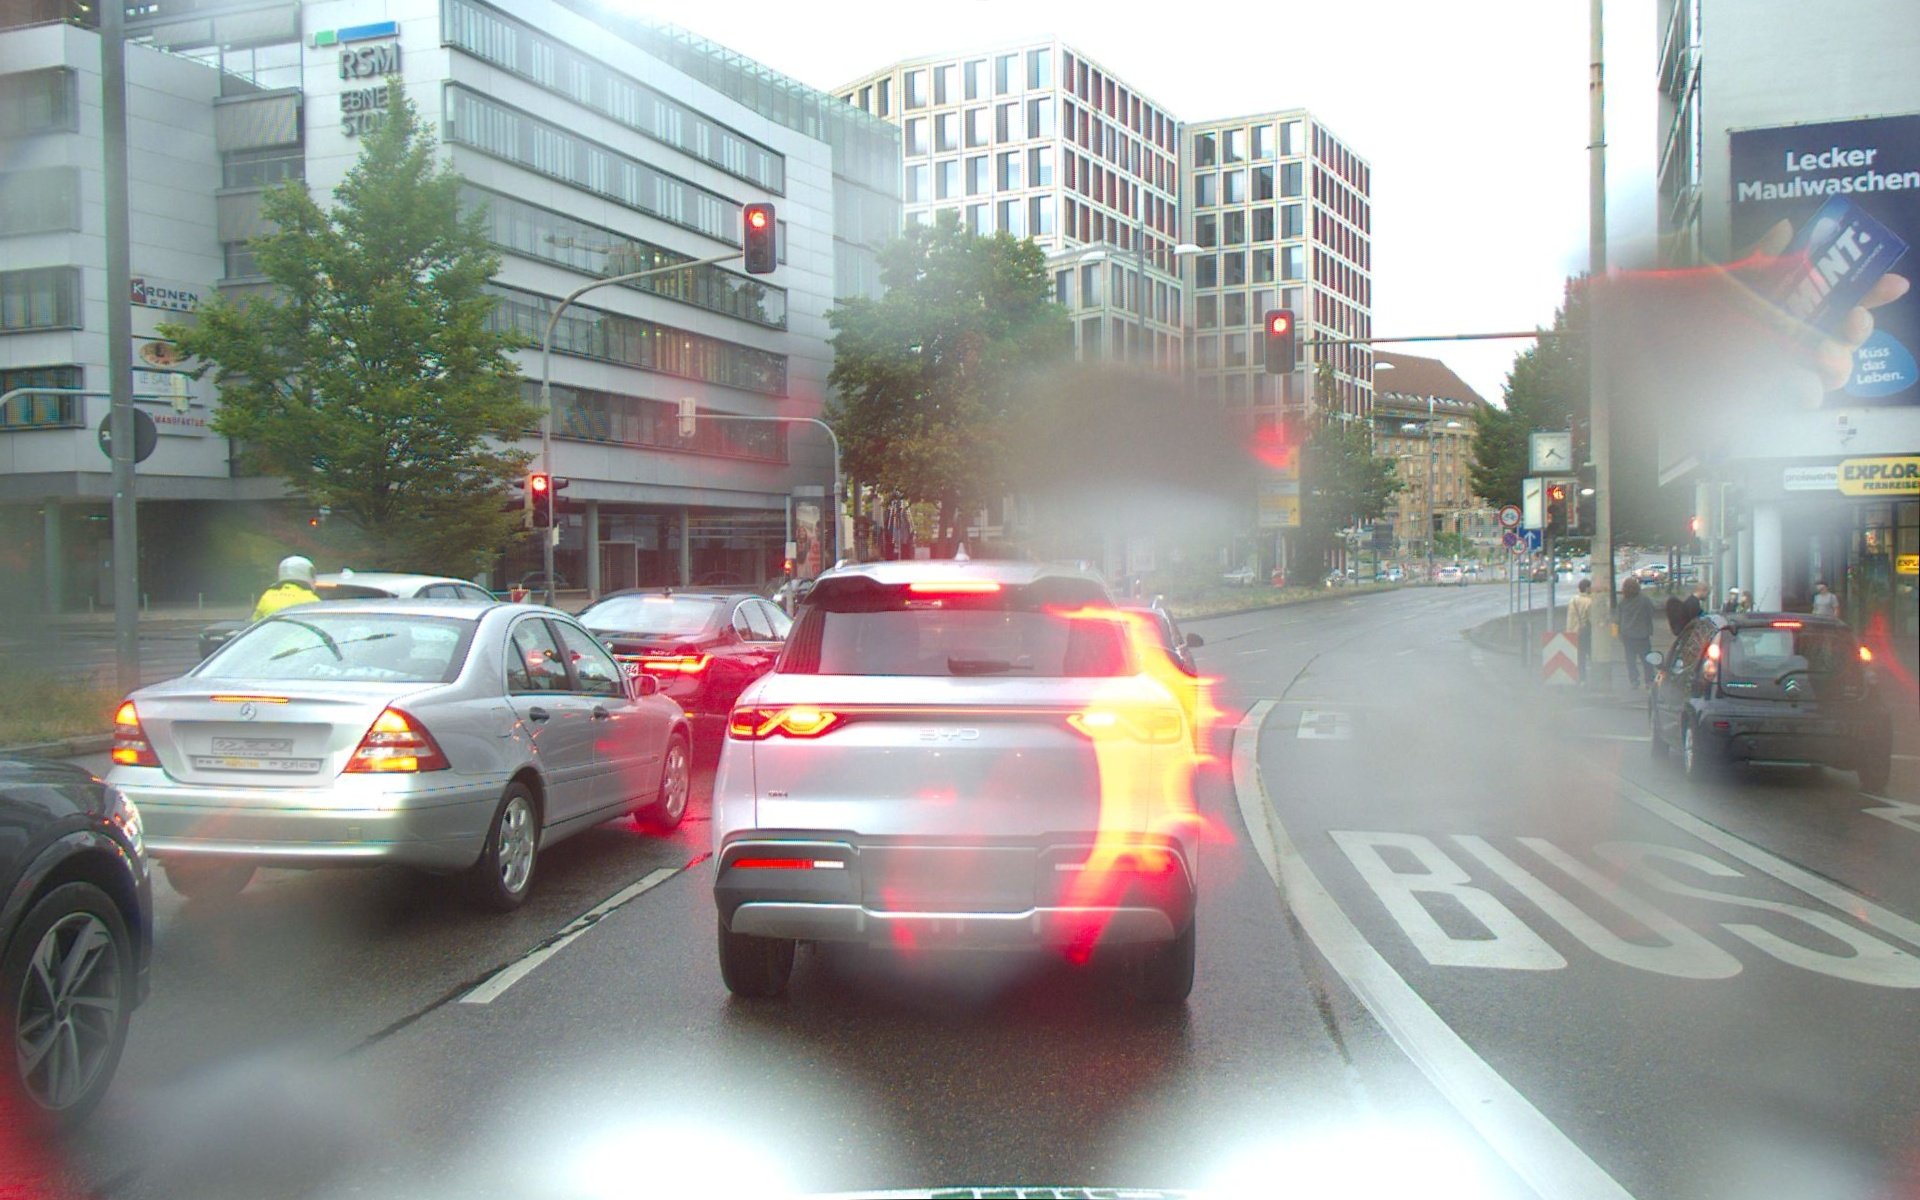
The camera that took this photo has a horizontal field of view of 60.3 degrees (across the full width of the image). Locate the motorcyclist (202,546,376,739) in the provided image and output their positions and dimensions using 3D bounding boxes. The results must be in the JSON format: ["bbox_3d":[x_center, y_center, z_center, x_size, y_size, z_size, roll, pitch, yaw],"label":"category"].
[{"bbox_3d":[-5.134,0.310,12.720,0.753,1.404,1.119,1,0,8],"label":"motorcyclist"}]

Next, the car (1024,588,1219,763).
[{"bbox_3d":[1.735,0.676,16.643,1.657,1.512,4.003,1,0,10],"label":"car"}]

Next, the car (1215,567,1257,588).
[{"bbox_3d":[20.545,-1.660,123.022,1.955,1.514,3.996,0,1,27],"label":"car"}]

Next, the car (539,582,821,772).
[{"bbox_3d":[-2.446,0.635,15.428,1.537,1.512,4.003,1,0,6],"label":"car"}]

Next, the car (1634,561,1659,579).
[{"bbox_3d":[62.785,-2.730,151.241,1.662,1.512,3.993,1,0,29],"label":"car"}]

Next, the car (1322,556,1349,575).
[{"bbox_3d":[37.267,-3.392,164.085,1.577,1.771,3.437,1,0,31],"label":"car"}]

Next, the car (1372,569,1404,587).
[{"bbox_3d":[37.253,-1.952,143.892,1.955,1.514,3.996,0,1,27],"label":"car"}]

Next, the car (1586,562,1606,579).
[{"bbox_3d":[76.767,-3.565,199.540,1.954,2.049,3.996,1,0,26],"label":"car"}]

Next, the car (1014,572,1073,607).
[{"bbox_3d":[3.932,-0.493,77.336,1.610,1.608,4.086,1,0,21],"label":"car"}]

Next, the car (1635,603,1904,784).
[{"bbox_3d":[7.480,0.781,15.642,1.537,1.454,4.003,1,0,15],"label":"car"}]

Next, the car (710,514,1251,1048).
[{"bbox_3d":[0.111,0.595,7.380,1.739,1.708,4.000,1,0,1],"label":"car"}]

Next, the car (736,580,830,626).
[{"bbox_3d":[-6.559,0.076,61.658,1.952,1.639,4.001,1,1,20],"label":"car"}]

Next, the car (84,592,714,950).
[{"bbox_3d":[-2.634,0.706,8.862,1.537,1.432,4.112,1,0,7],"label":"car"}]

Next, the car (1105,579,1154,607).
[{"bbox_3d":[10.017,-0.417,97.395,1.598,1.586,4.592,0,1,23],"label":"car"}]

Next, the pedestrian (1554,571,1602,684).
[{"bbox_3d":[10.290,0.443,27.537,0.733,1.829,0.817,0,1,20],"label":"pedestrian"}]

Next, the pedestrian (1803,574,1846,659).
[{"bbox_3d":[18.800,0.350,35.973,0.659,1.825,0.768,1,0,43],"label":"pedestrian"}]

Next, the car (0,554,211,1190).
[{"bbox_3d":[-3.128,0.661,2.987,1.614,1.548,4.271,1,1,0],"label":"car"}]

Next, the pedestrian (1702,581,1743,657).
[{"bbox_3d":[17.150,0.410,37.185,0.659,1.684,0.649,1,0,43],"label":"pedestrian"}]

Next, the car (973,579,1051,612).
[{"bbox_3d":[2.632,-0.247,82.083,1.779,1.536,5.188,0,1,28],"label":"car"}]

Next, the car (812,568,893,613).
[{"bbox_3d":[-3.821,-0.344,59.298,1.609,1.563,4.155,1,0,15],"label":"car"}]

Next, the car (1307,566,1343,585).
[{"bbox_3d":[29.987,-2.014,135.898,1.955,1.514,3.996,0,1,27],"label":"car"}]

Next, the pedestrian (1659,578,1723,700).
[{"bbox_3d":[10.693,0.558,24.215,0.753,1.762,0.597,0,0,13],"label":"pedestrian"}]

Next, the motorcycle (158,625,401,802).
[{"bbox_3d":[-5.140,0.812,12.663,0.783,1.205,2.030,1,0,8],"label":"motorcycle"}]

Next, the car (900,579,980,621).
[{"bbox_3d":[-0.670,0.012,59.222,1.655,1.409,3.870,1,0,18],"label":"car"}]

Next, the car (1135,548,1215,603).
[{"bbox_3d":[8.529,-0.945,65.260,1.953,2.049,4.848,1,0,22],"label":"car"}]

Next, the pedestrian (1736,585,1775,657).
[{"bbox_3d":[17.635,0.450,36.666,0.615,1.570,0.649,1,0,43],"label":"pedestrian"}]

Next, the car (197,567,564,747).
[{"bbox_3d":[-5.462,0.492,16.175,1.670,1.512,4.003,1,0,9],"label":"car"}]

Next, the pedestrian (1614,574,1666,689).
[{"bbox_3d":[11.043,0.492,26.876,0.733,1.829,0.817,0,1,20],"label":"pedestrian"}]

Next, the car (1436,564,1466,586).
[{"bbox_3d":[37.162,-1.884,125.056,1.849,1.671,4.000,1,1,22],"label":"car"}]
